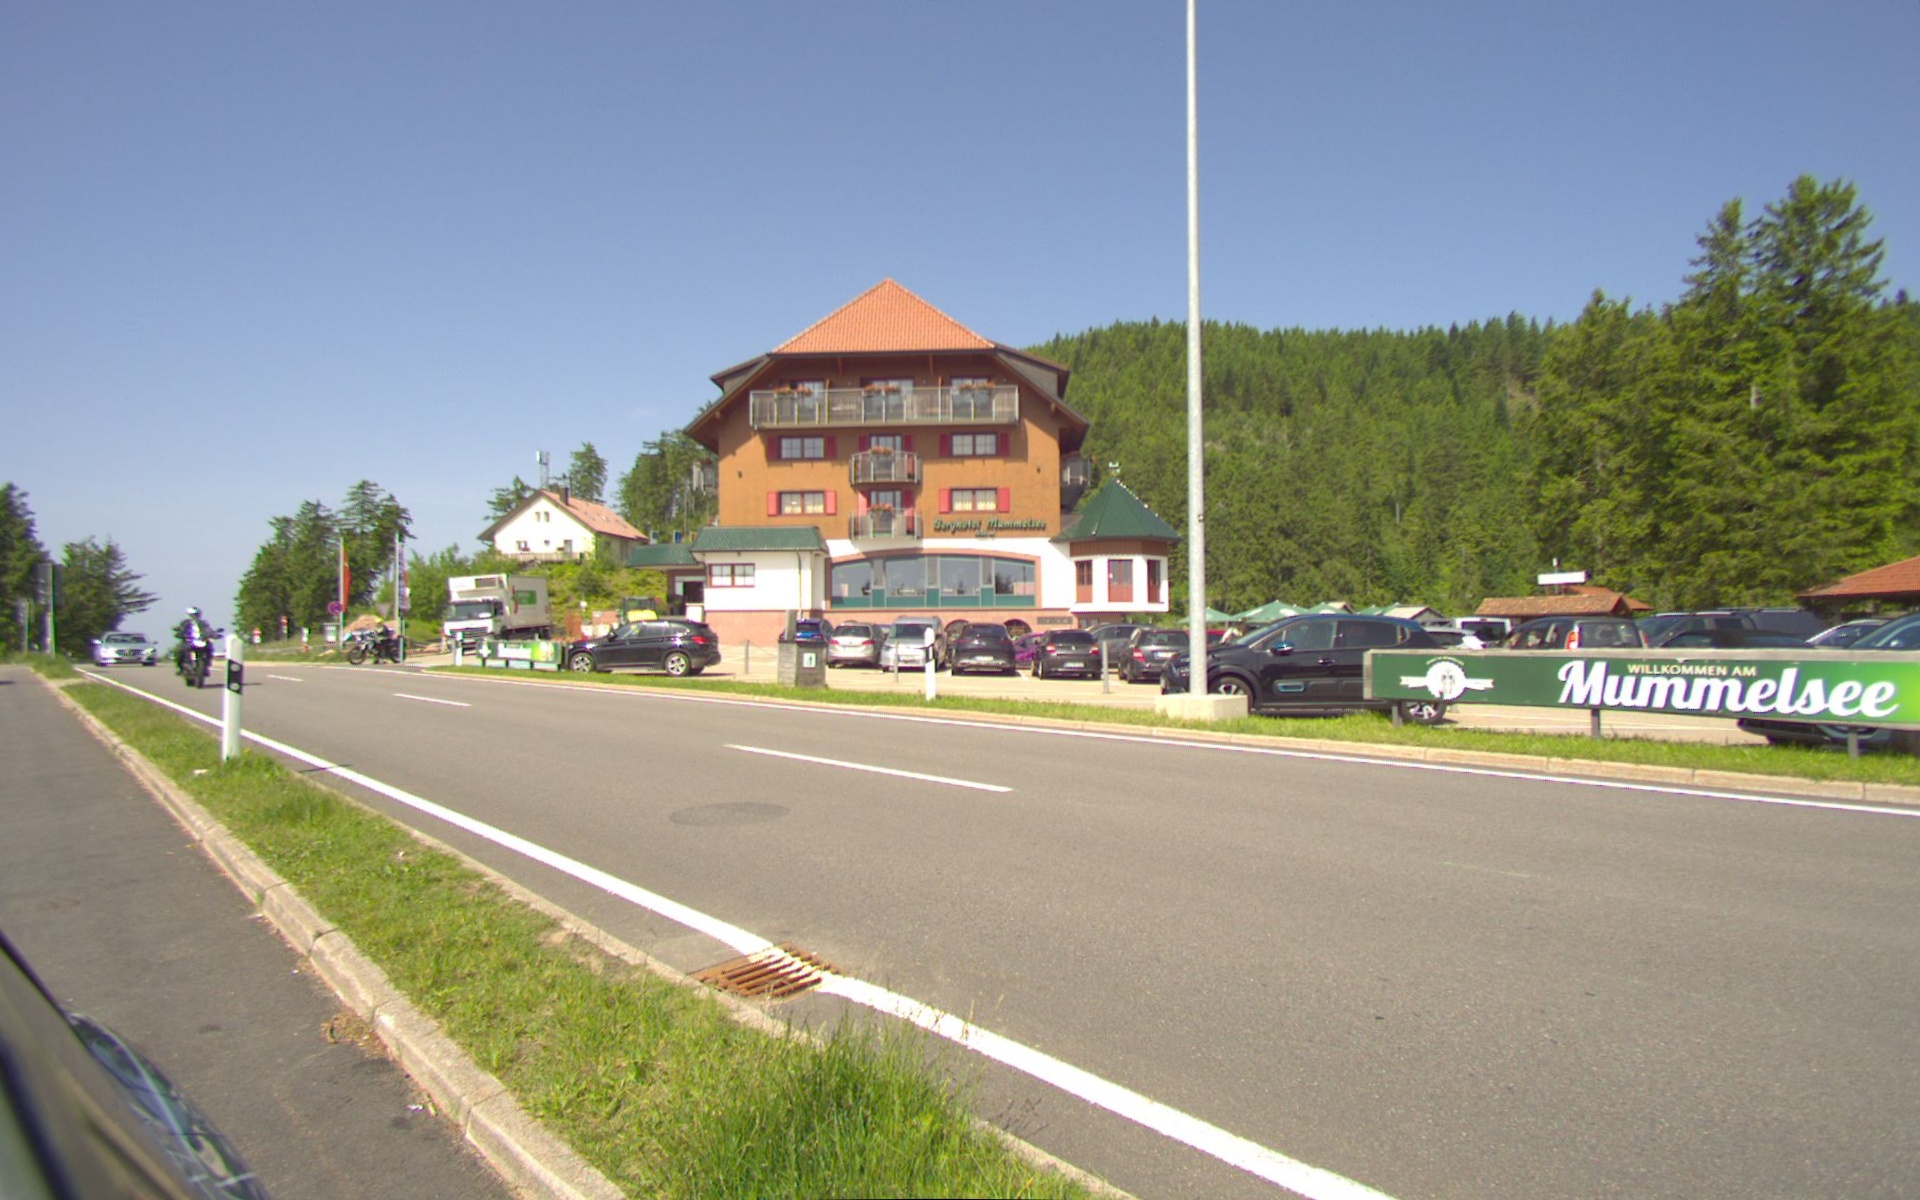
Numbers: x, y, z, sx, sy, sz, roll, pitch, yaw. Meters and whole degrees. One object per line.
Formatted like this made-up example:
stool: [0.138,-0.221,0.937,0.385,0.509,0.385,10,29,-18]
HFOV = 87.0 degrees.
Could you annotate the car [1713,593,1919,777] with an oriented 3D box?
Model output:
car: [9.769,0.741,9.479,4.005,1.579,1.739,0,-2,2]

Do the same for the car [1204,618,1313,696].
car: [7.101,1.372,24.452,1.804,1.717,3.992,-1,-3,6]

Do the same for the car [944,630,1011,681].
car: [0.518,1.678,30.692,1.887,1.441,3.998,0,-3,1]

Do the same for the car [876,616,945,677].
car: [-1.570,1.562,33.513,1.811,1.878,4.525,0,-3,3]

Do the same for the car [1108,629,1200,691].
car: [5.002,1.553,26.613,1.692,1.497,4.077,0,-3,1]

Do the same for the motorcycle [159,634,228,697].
motorcycle: [-16.836,1.398,22.218,2.278,1.266,0.866,-1,0,44]

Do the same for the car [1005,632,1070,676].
car: [2.725,1.945,36.349,1.907,1.494,4.000,0,-3,-1]

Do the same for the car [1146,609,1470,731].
car: [4.677,0.958,14.144,3.953,1.564,1.779,-1,-3,8]

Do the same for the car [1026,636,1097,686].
car: [2.807,1.711,28.750,1.565,1.331,3.639,0,-3,-1]

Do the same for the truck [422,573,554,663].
truck: [-23.479,0.831,50.993,3.024,4.002,8.780,-3,0,-4]

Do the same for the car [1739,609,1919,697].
car: [18.150,1.059,20.200,1.971,1.586,4.000,0,-3,-1]

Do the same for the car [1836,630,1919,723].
car: [15.692,1.147,15.012,1.881,1.431,3.998,0,-3,1]

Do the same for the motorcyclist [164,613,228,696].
motorcyclist: [-16.745,1.168,22.175,1.452,1.730,0.913,-1,-1,44]

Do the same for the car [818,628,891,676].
car: [-3.599,1.803,35.276,1.973,1.557,3.996,0,-3,3]

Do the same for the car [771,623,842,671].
car: [-5.669,1.713,37.827,1.913,1.676,4.543,0,-2,1]

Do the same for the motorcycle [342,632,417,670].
motorcycle: [-23.158,2.020,40.432,1.004,1.417,2.415,-1,-1,35]

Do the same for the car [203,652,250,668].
car: [-95.210,7.813,131.362,4.658,1.896,1.935,5,-7,-41]

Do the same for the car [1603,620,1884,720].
car: [13.554,1.201,17.875,1.874,1.557,3.997,0,-3,2]

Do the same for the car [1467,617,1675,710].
car: [11.495,1.188,19.372,1.711,1.600,3.730,0,-3,1]

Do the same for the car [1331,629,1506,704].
car: [9.281,1.343,20.875,1.787,1.381,3.998,0,-3,1]

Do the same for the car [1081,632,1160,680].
car: [5.283,1.856,33.818,1.907,1.494,4.000,0,-3,-1]

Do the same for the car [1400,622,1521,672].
car: [16.209,1.536,33.014,1.883,1.542,3.882,0,-3,-1]

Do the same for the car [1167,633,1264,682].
car: [7.890,1.792,31.593,1.907,1.429,4.000,0,-3,-1]

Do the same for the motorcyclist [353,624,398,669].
motorcyclist: [-23.285,1.829,40.320,1.062,1.733,1.233,-1,-2,36]

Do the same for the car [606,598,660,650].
car: [-16.694,1.291,51.625,1.965,2.515,4.012,1,-3,-27]

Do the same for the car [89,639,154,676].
car: [-34.705,2.374,41.838,1.755,1.468,4.003,3,-4,-44]

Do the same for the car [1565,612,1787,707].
car: [15.784,1.306,22.616,1.971,1.918,4.000,0,-3,-1]

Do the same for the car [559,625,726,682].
car: [-8.863,1.504,28.491,4.135,1.552,1.806,0,-3,2]

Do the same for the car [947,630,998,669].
car: [0.463,2.001,40.996,1.907,1.494,4.000,0,-3,-1]

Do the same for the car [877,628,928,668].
car: [-2.230,1.911,40.287,1.907,1.494,4.000,0,-3,-1]

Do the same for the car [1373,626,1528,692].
car: [12.646,1.522,26.396,1.971,1.564,4.000,0,-3,-1]
